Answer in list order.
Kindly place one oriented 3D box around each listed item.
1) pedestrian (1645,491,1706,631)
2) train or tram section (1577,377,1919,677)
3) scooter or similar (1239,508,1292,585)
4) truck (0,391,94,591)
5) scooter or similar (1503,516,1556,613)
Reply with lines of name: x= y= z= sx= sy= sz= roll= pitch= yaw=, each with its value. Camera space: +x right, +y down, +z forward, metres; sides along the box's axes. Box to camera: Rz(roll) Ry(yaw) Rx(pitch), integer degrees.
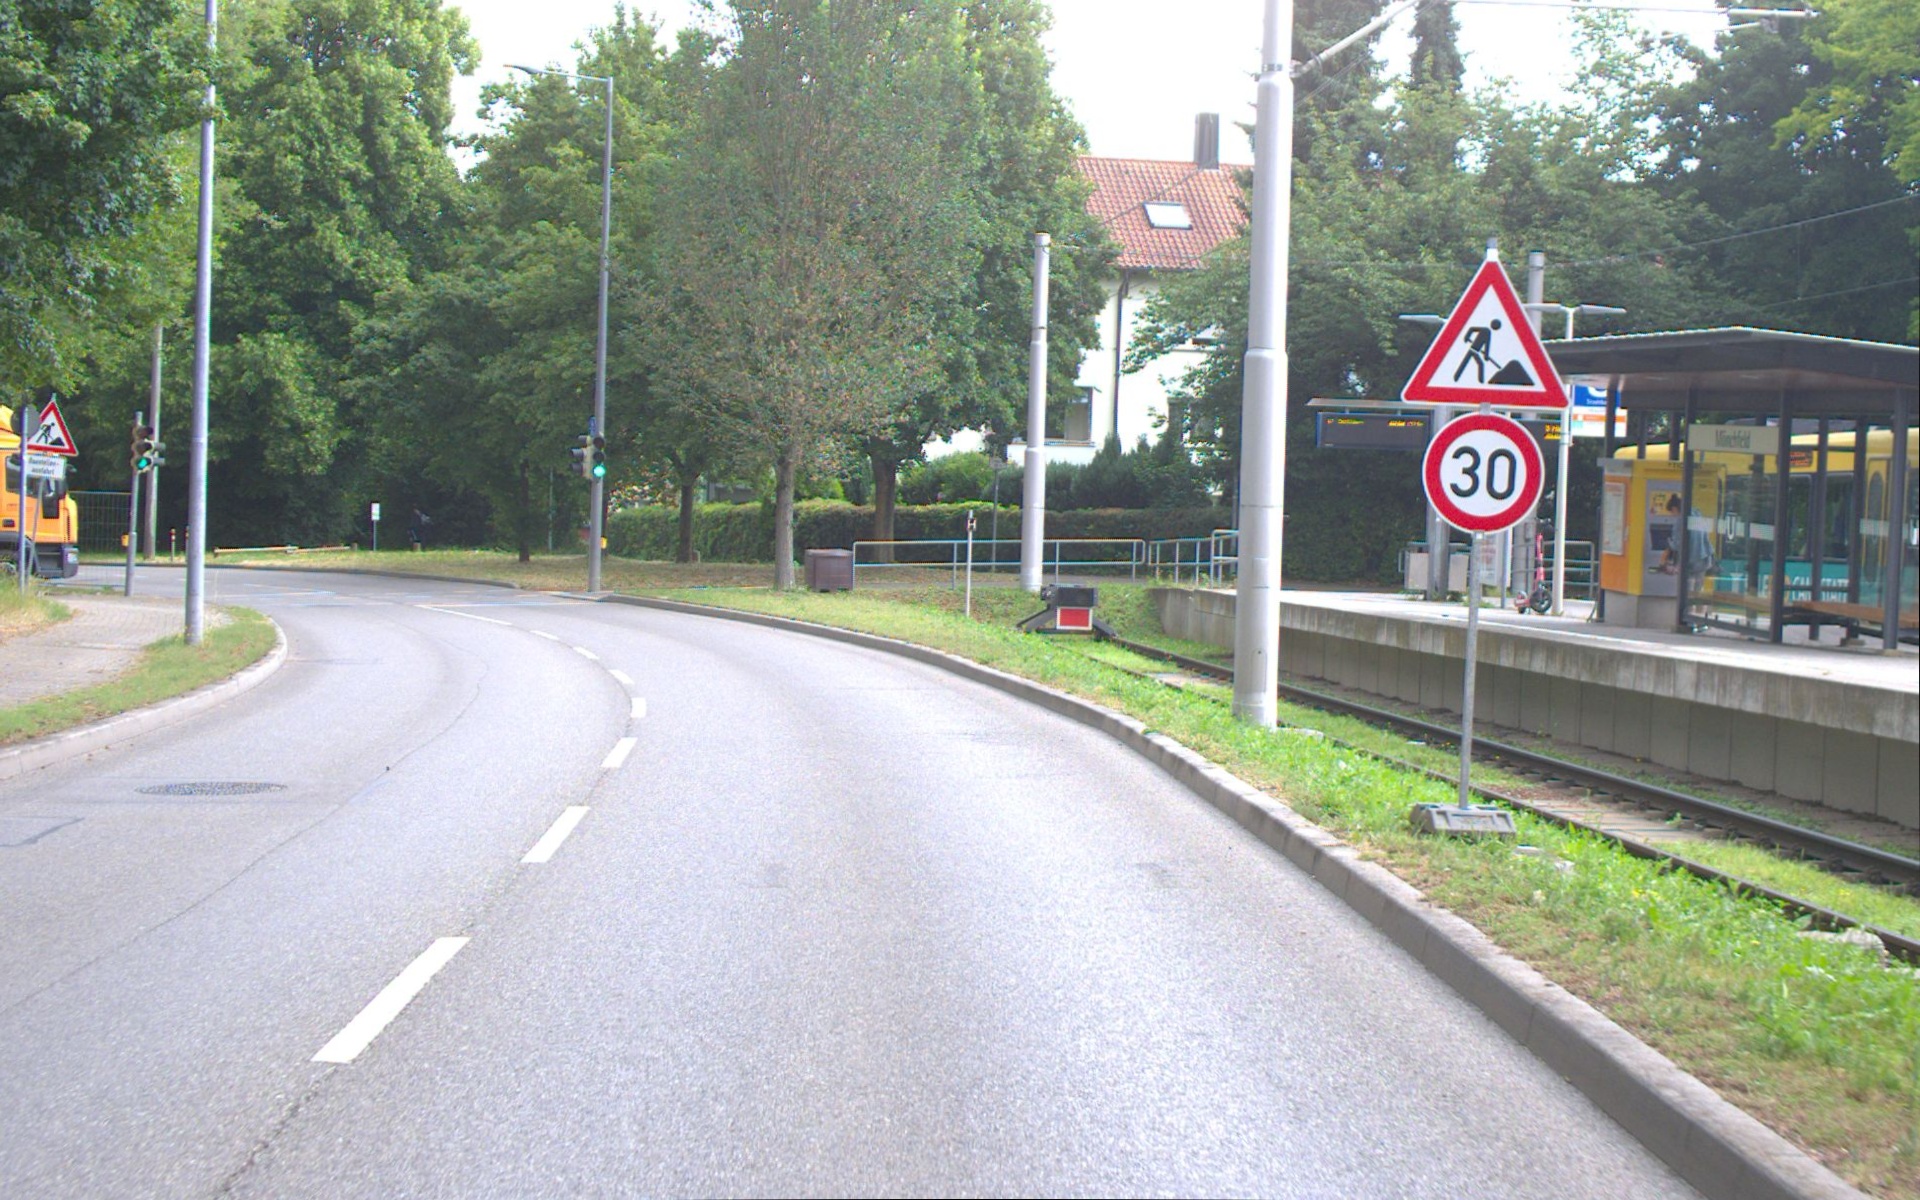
pedestrian: x=8.177 y=-0.449 z=39.270 sx=0.623 sy=1.567 sz=0.665 roll=2 pitch=1 yaw=13
train or tram section: x=12.410 y=-1.005 z=46.838 sx=2.813 sy=3.576 sz=19.518 roll=3 pitch=2 yaw=-5
scooter or similar: x=5.085 y=-0.884 z=57.232 sx=0.429 sy=1.249 sz=1.255 roll=0 pitch=0 yaw=-17
truck: x=-20.392 y=-2.045 z=61.601 sx=9.228 sy=3.519 sz=2.566 roll=1 pitch=1 yaw=-18
scooter or similar: x=7.455 y=-0.468 z=45.053 sx=0.368 sy=1.238 sz=1.146 roll=1 pitch=2 yaw=-5
